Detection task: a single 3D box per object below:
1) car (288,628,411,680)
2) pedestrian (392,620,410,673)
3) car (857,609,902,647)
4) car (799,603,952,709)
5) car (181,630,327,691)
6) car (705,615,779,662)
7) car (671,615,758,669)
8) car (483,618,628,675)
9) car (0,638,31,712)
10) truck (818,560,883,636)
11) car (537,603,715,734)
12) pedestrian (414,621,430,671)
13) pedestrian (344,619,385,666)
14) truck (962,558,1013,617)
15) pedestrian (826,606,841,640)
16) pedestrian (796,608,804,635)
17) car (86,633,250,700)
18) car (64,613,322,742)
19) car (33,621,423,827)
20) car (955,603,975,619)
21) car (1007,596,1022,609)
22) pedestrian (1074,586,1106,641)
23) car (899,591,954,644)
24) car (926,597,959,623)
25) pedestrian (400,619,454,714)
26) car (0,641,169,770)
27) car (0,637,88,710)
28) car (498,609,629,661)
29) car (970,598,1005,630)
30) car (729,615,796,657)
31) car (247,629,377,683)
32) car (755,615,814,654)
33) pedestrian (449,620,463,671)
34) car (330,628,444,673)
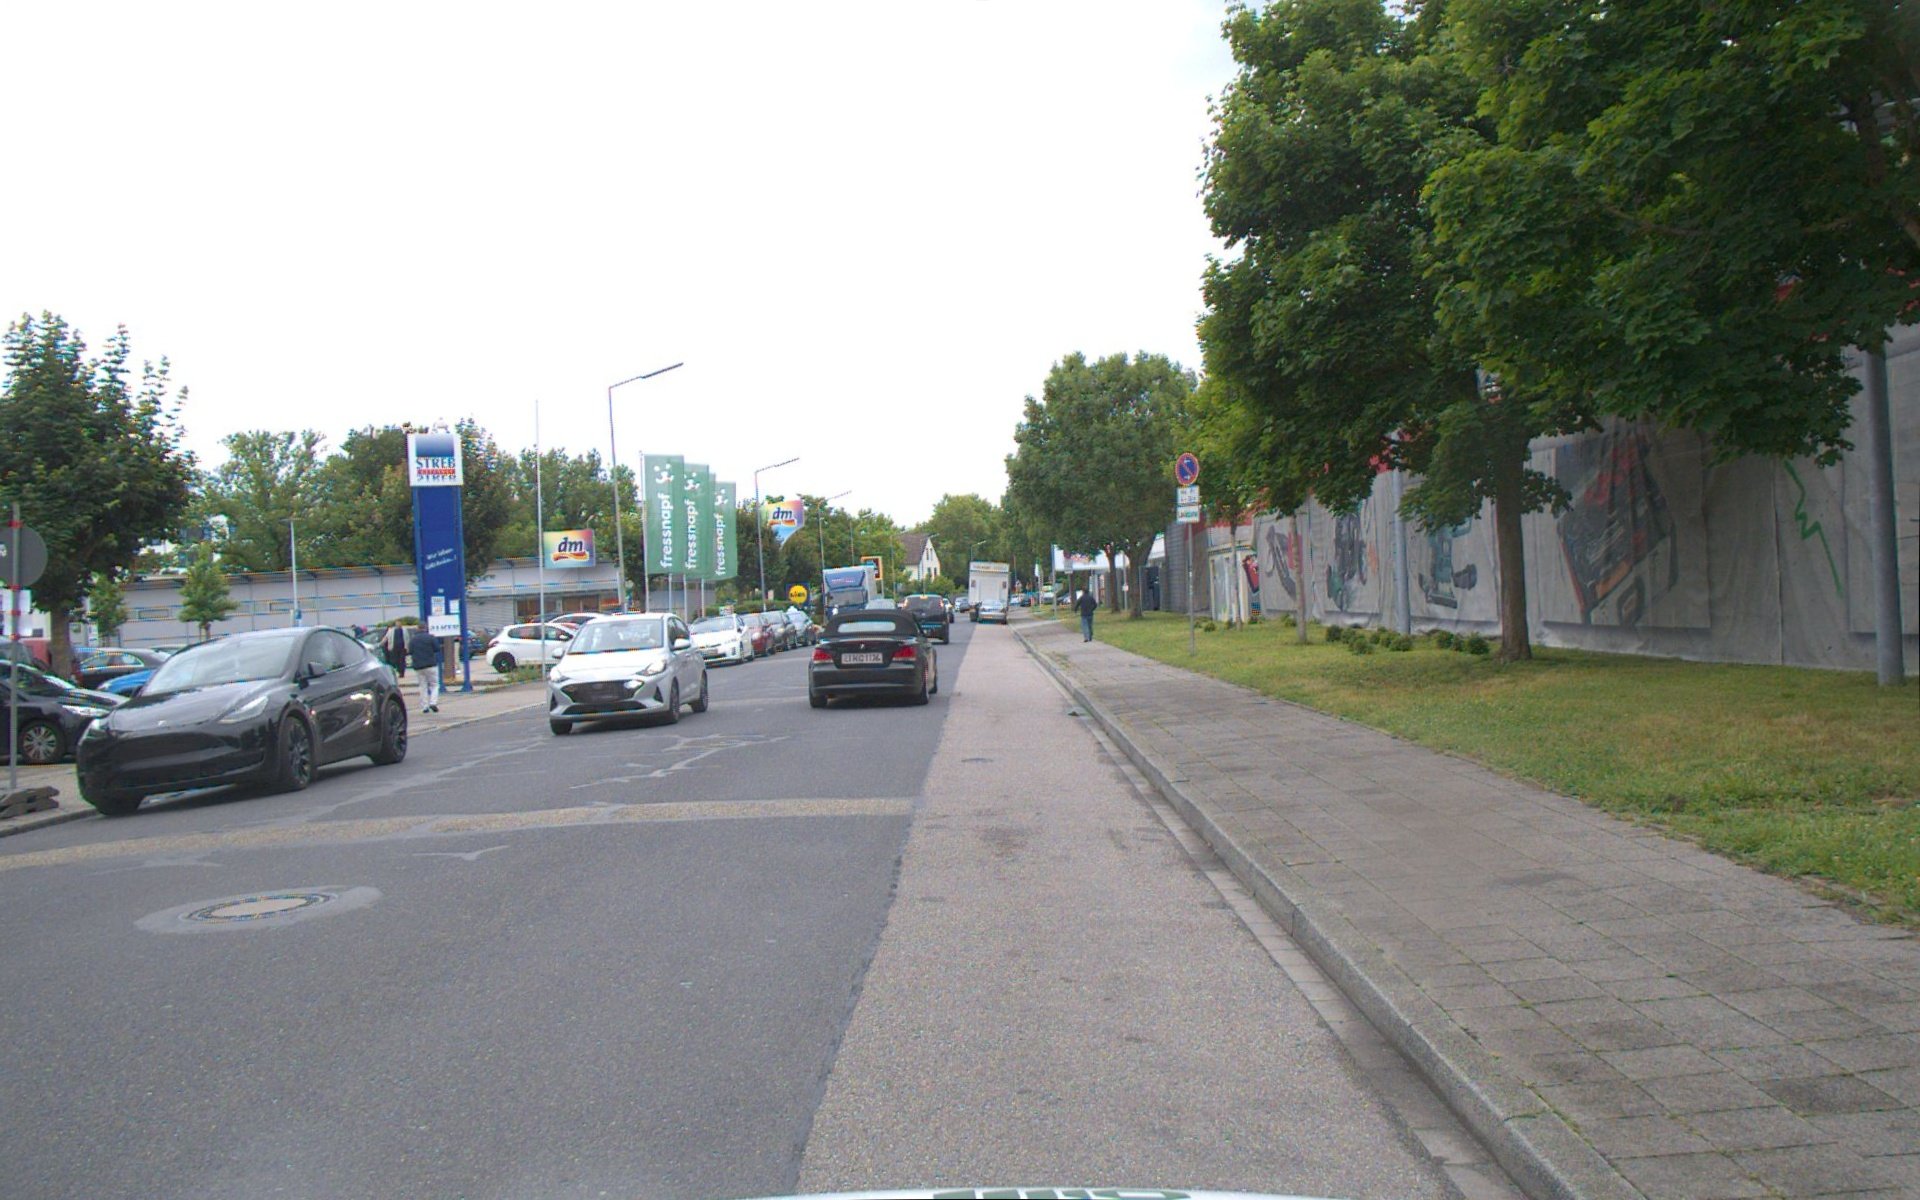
[{"bbox_3d":[-23.324,2.054,63.314,3.905,1.698,1.876,-3,0,1],"label":"car"},{"bbox_3d":[-17.844,1.478,52.761,0.448,1.670,0.373,-3,0,-17],"label":"pedestrian"},{"bbox_3d":[-3.832,1.327,79.132,1.953,1.713,3.999,-2,-1,0],"label":"car"},{"bbox_3d":[-1.179,0.781,24.850,1.709,1.382,4.140,-3,-1,5],"label":"car"},{"bbox_3d":[-23.196,1.973,54.447,3.905,1.698,1.876,-3,0,1],"label":"car"},{"bbox_3d":[-7.357,1.265,56.100,1.859,1.391,4.000,-3,0,1],"label":"car"},{"bbox_3d":[-7.297,1.217,49.479,1.859,1.391,4.000,-4,0,1],"label":"car"},{"bbox_3d":[-12.650,1.437,51.896,4.124,1.488,1.950,-4,0,-7],"label":"car"},{"bbox_3d":[-24.552,1.895,39.231,3.905,1.698,1.876,-3,0,1],"label":"car"},{"bbox_3d":[-6.224,-0.111,95.074,2.913,4.024,6.405,-4,0,1],"label":"truck"},{"bbox_3d":[-4.535,0.894,22.947,1.566,1.554,3.528,-5,-1,1],"label":"car"},{"bbox_3d":[-17.218,1.470,52.951,0.352,1.597,0.503,-3,0,-10],"label":"pedestrian"},{"bbox_3d":[-27.599,1.971,76.688,1.374,2.048,1.194,-3,0,-39],"label":"pedestrian"},{"bbox_3d":[1.757,-0.764,109.468,3.071,3.647,10.049,-2,-1,0],"label":"truck"},{"bbox_3d":[-6.453,1.176,84.328,0.618,1.665,0.668,-3,0,0],"label":"pedestrian"},{"bbox_3d":[-9.445,1.285,97.469,0.394,1.558,0.485,-3,0,-5],"label":"pedestrian"},{"bbox_3d":[-23.705,1.967,49.605,3.905,1.698,1.876,-3,0,1],"label":"car"},{"bbox_3d":[-14.135,1.390,30.671,3.855,2.048,1.759,-4,0,-6],"label":"car"},{"bbox_3d":[-7.228,1.129,16.921,1.908,1.552,4.402,-7,0,-1],"label":"car"},{"bbox_3d":[0.499,1.124,167.693,1.847,1.558,4.255,-1,0,2],"label":"car"},{"bbox_3d":[7.192,0.345,217.935,1.847,1.713,4.255,-1,0,2],"label":"car"},{"bbox_3d":[3.982,0.410,50.834,0.900,1.663,0.853,-2,-1,3],"label":"pedestrian"},{"bbox_3d":[-1.163,0.576,55.964,1.648,1.660,3.756,-3,0,-4],"label":"car"},{"bbox_3d":[-1.080,0.585,103.397,1.847,1.558,4.255,-1,0,2],"label":"car"},{"bbox_3d":[-10.162,1.253,31.534,0.760,1.745,0.696,-2,0,-4],"label":"pedestrian"},{"bbox_3d":[-13.557,1.488,23.343,3.794,1.649,1.928,-2,0,1],"label":"car"},{"bbox_3d":[-24.455,1.917,41.644,3.905,1.698,1.876,-3,0,1],"label":"car"},{"bbox_3d":[-13.581,1.192,56.853,4.055,1.488,1.897,-3,0,-5],"label":"car"},{"bbox_3d":[1.637,0.849,100.215,1.953,1.837,3.999,-2,-1,0],"label":"car"},{"bbox_3d":[-7.309,1.319,61.593,1.859,1.391,4.000,-3,0,1],"label":"car"},{"bbox_3d":[-23.729,2.039,60.670,3.905,1.698,1.876,-3,0,1],"label":"car"},{"bbox_3d":[-7.114,1.371,67.350,1.859,1.391,4.000,-3,0,1],"label":"car"},{"bbox_3d":[-16.000,1.431,52.473,0.324,1.597,0.503,-2,0,-10],"label":"pedestrian"},{"bbox_3d":[-23.182,2.030,67.008,3.905,1.518,1.786,-3,0,1],"label":"car"}]
